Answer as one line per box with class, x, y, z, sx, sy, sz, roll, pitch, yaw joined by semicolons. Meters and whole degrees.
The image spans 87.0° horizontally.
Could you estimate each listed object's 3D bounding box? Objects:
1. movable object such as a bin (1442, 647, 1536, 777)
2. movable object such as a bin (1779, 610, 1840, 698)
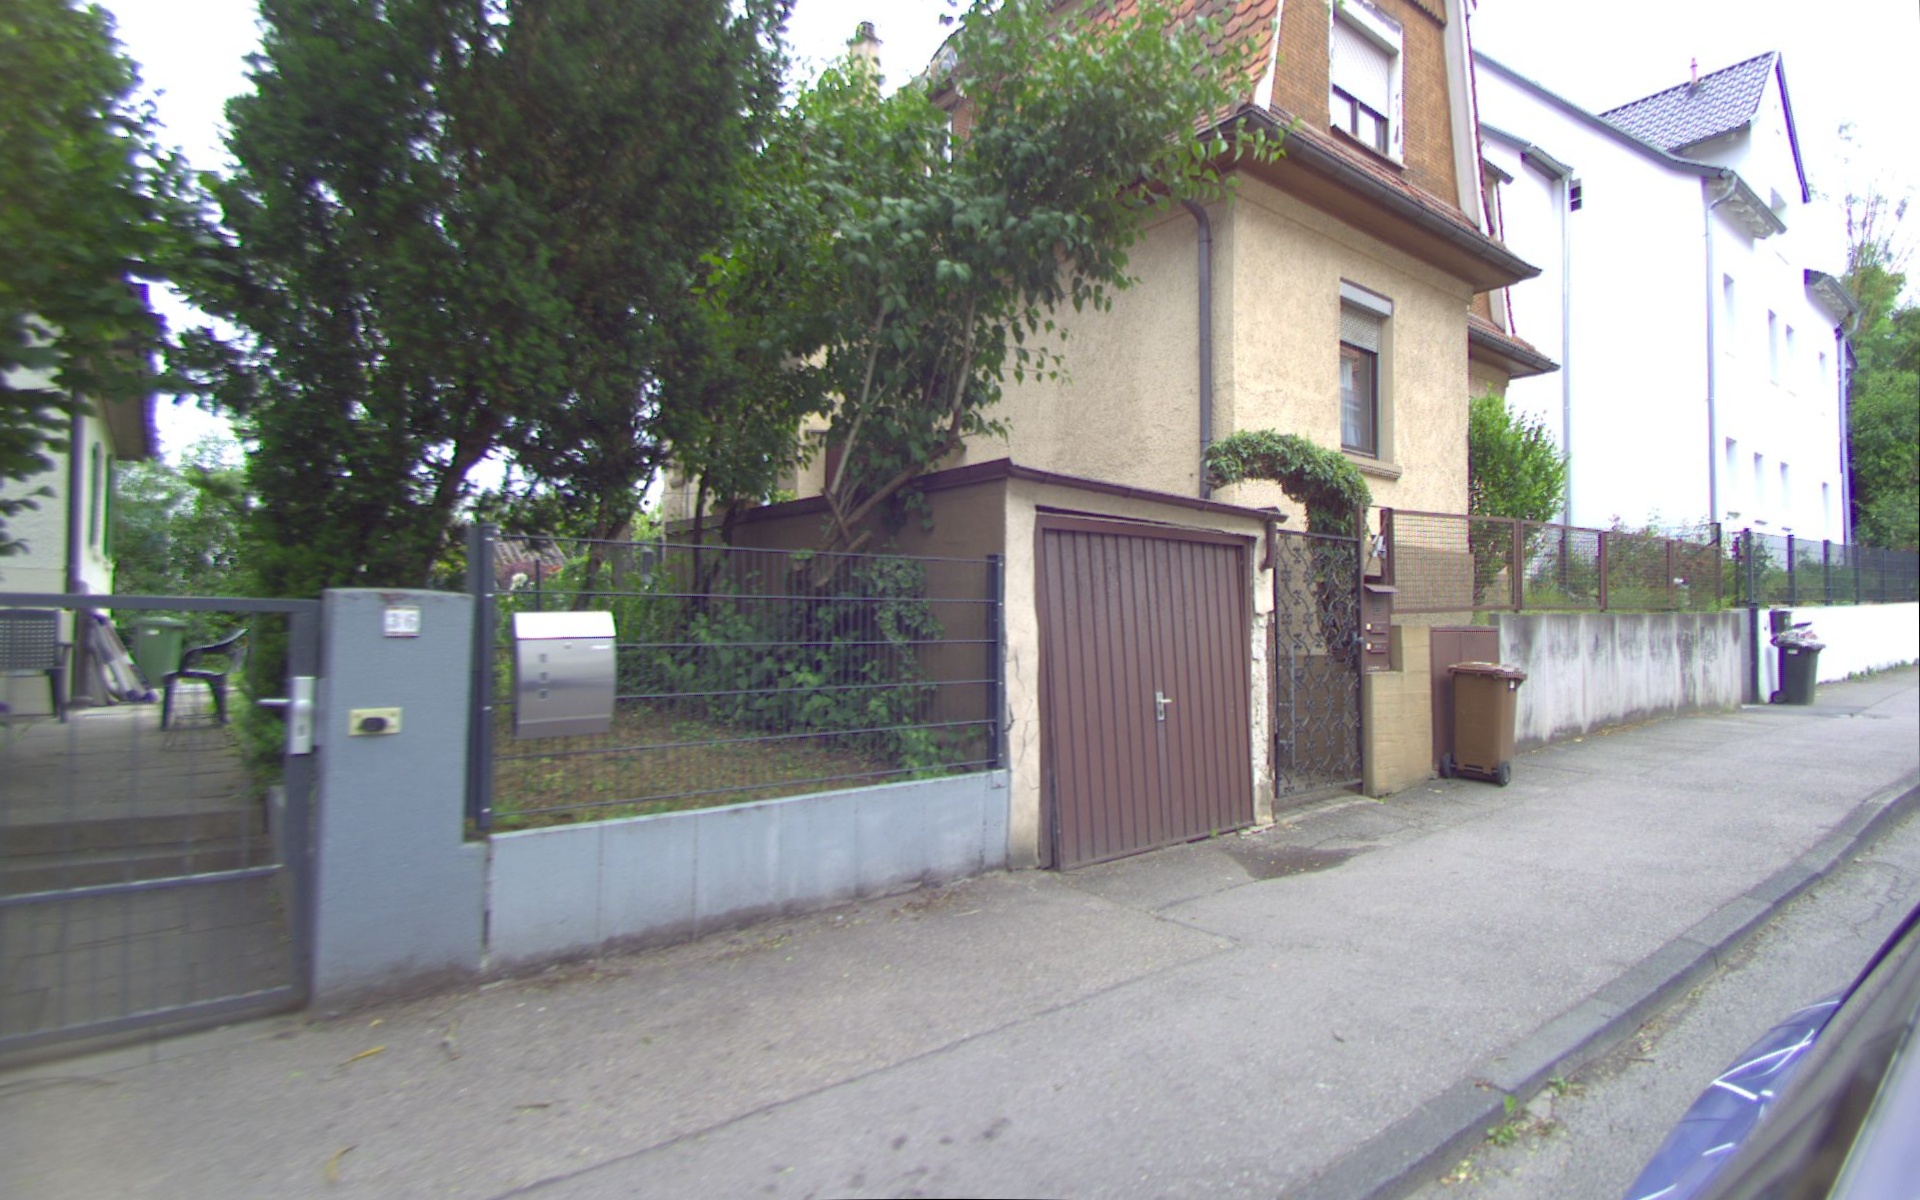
movable object such as a bin;4.239;0.874;8.105;0.556;0.935;0.462;0;2;-40
movable object such as a bin;12.151;0.751;14.481;0.623;1.192;0.529;0;2;-40
